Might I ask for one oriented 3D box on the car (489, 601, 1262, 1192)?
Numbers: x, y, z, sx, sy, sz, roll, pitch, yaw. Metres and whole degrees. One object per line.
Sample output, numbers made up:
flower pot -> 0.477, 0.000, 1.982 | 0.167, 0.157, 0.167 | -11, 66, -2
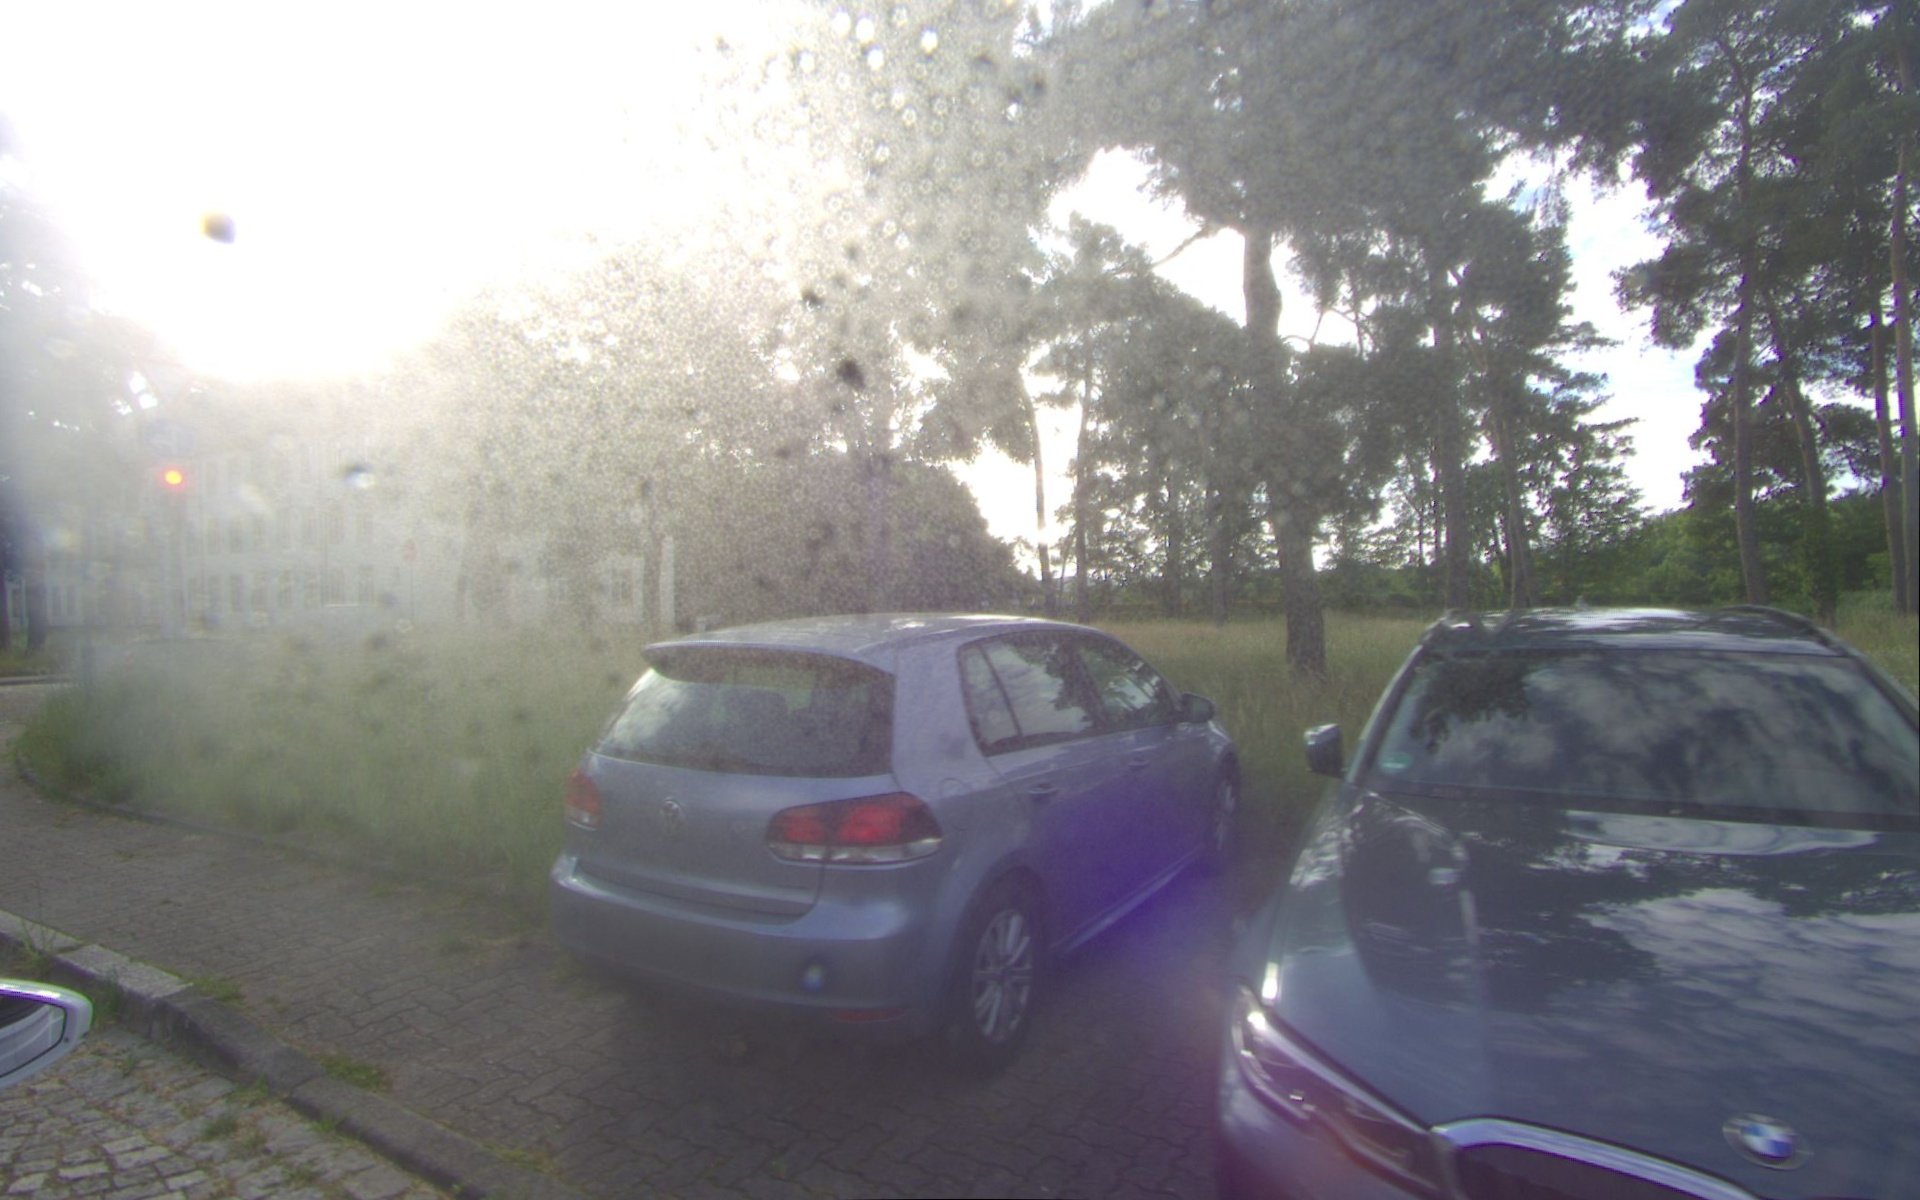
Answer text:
car -> 0.085, 0.769, 4.626 | 1.618, 1.490, 3.835 | 0, 0, 31

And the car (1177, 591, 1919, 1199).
car -> 2.260, 0.752, 3.355 | 1.780, 1.503, 4.508 | 0, 0, 29

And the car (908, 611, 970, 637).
car -> -1.422, 1.582, 66.473 | 3.923, 1.622, 1.999 | 0, 0, -6

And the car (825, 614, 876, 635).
car -> -7.821, 1.751, 71.814 | 1.541, 1.415, 3.982 | -1, -3, 31
